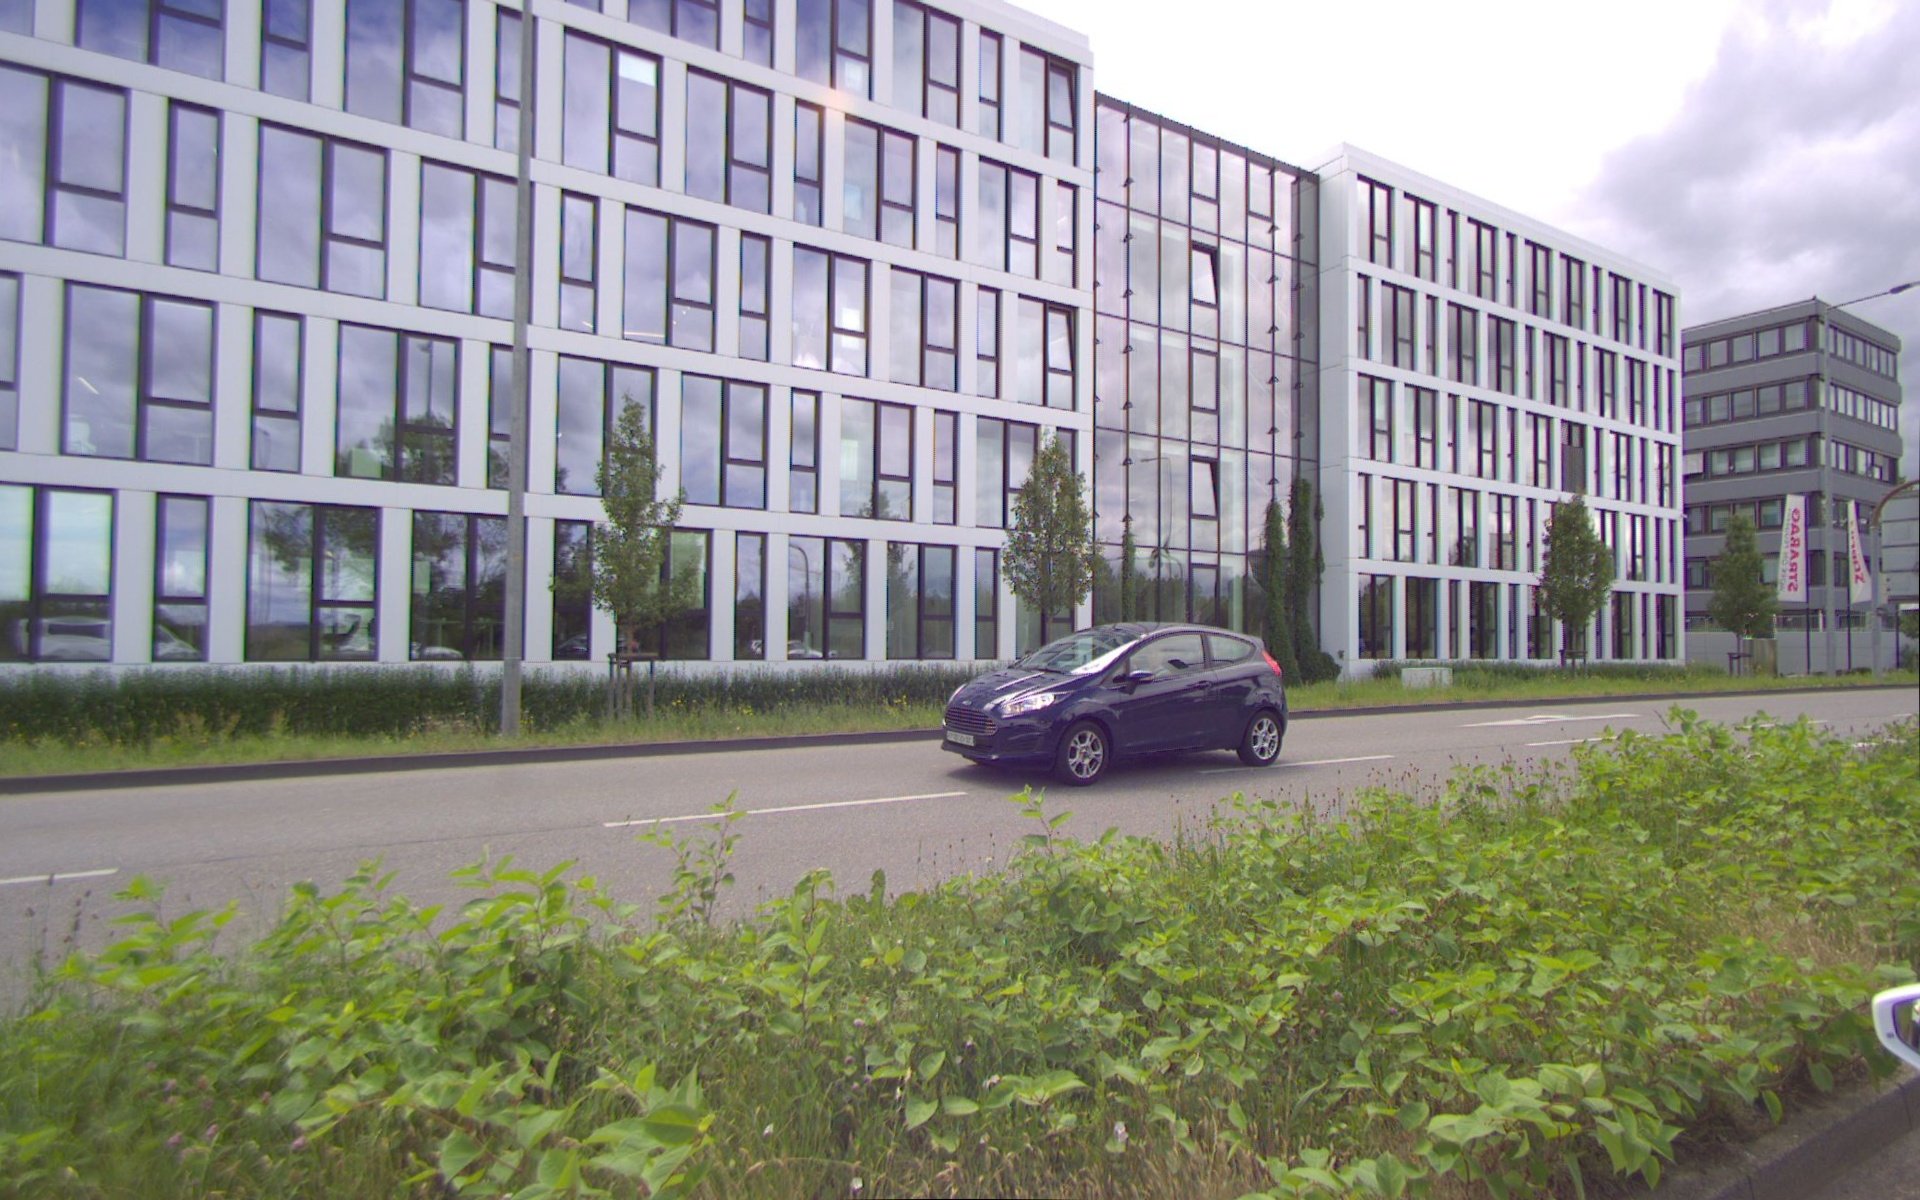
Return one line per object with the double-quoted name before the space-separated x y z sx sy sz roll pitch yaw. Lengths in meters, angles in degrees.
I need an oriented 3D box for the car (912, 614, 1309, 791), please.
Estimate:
"car" 1.611 0.936 10.300 3.851 1.465 1.743 2 0 -34
